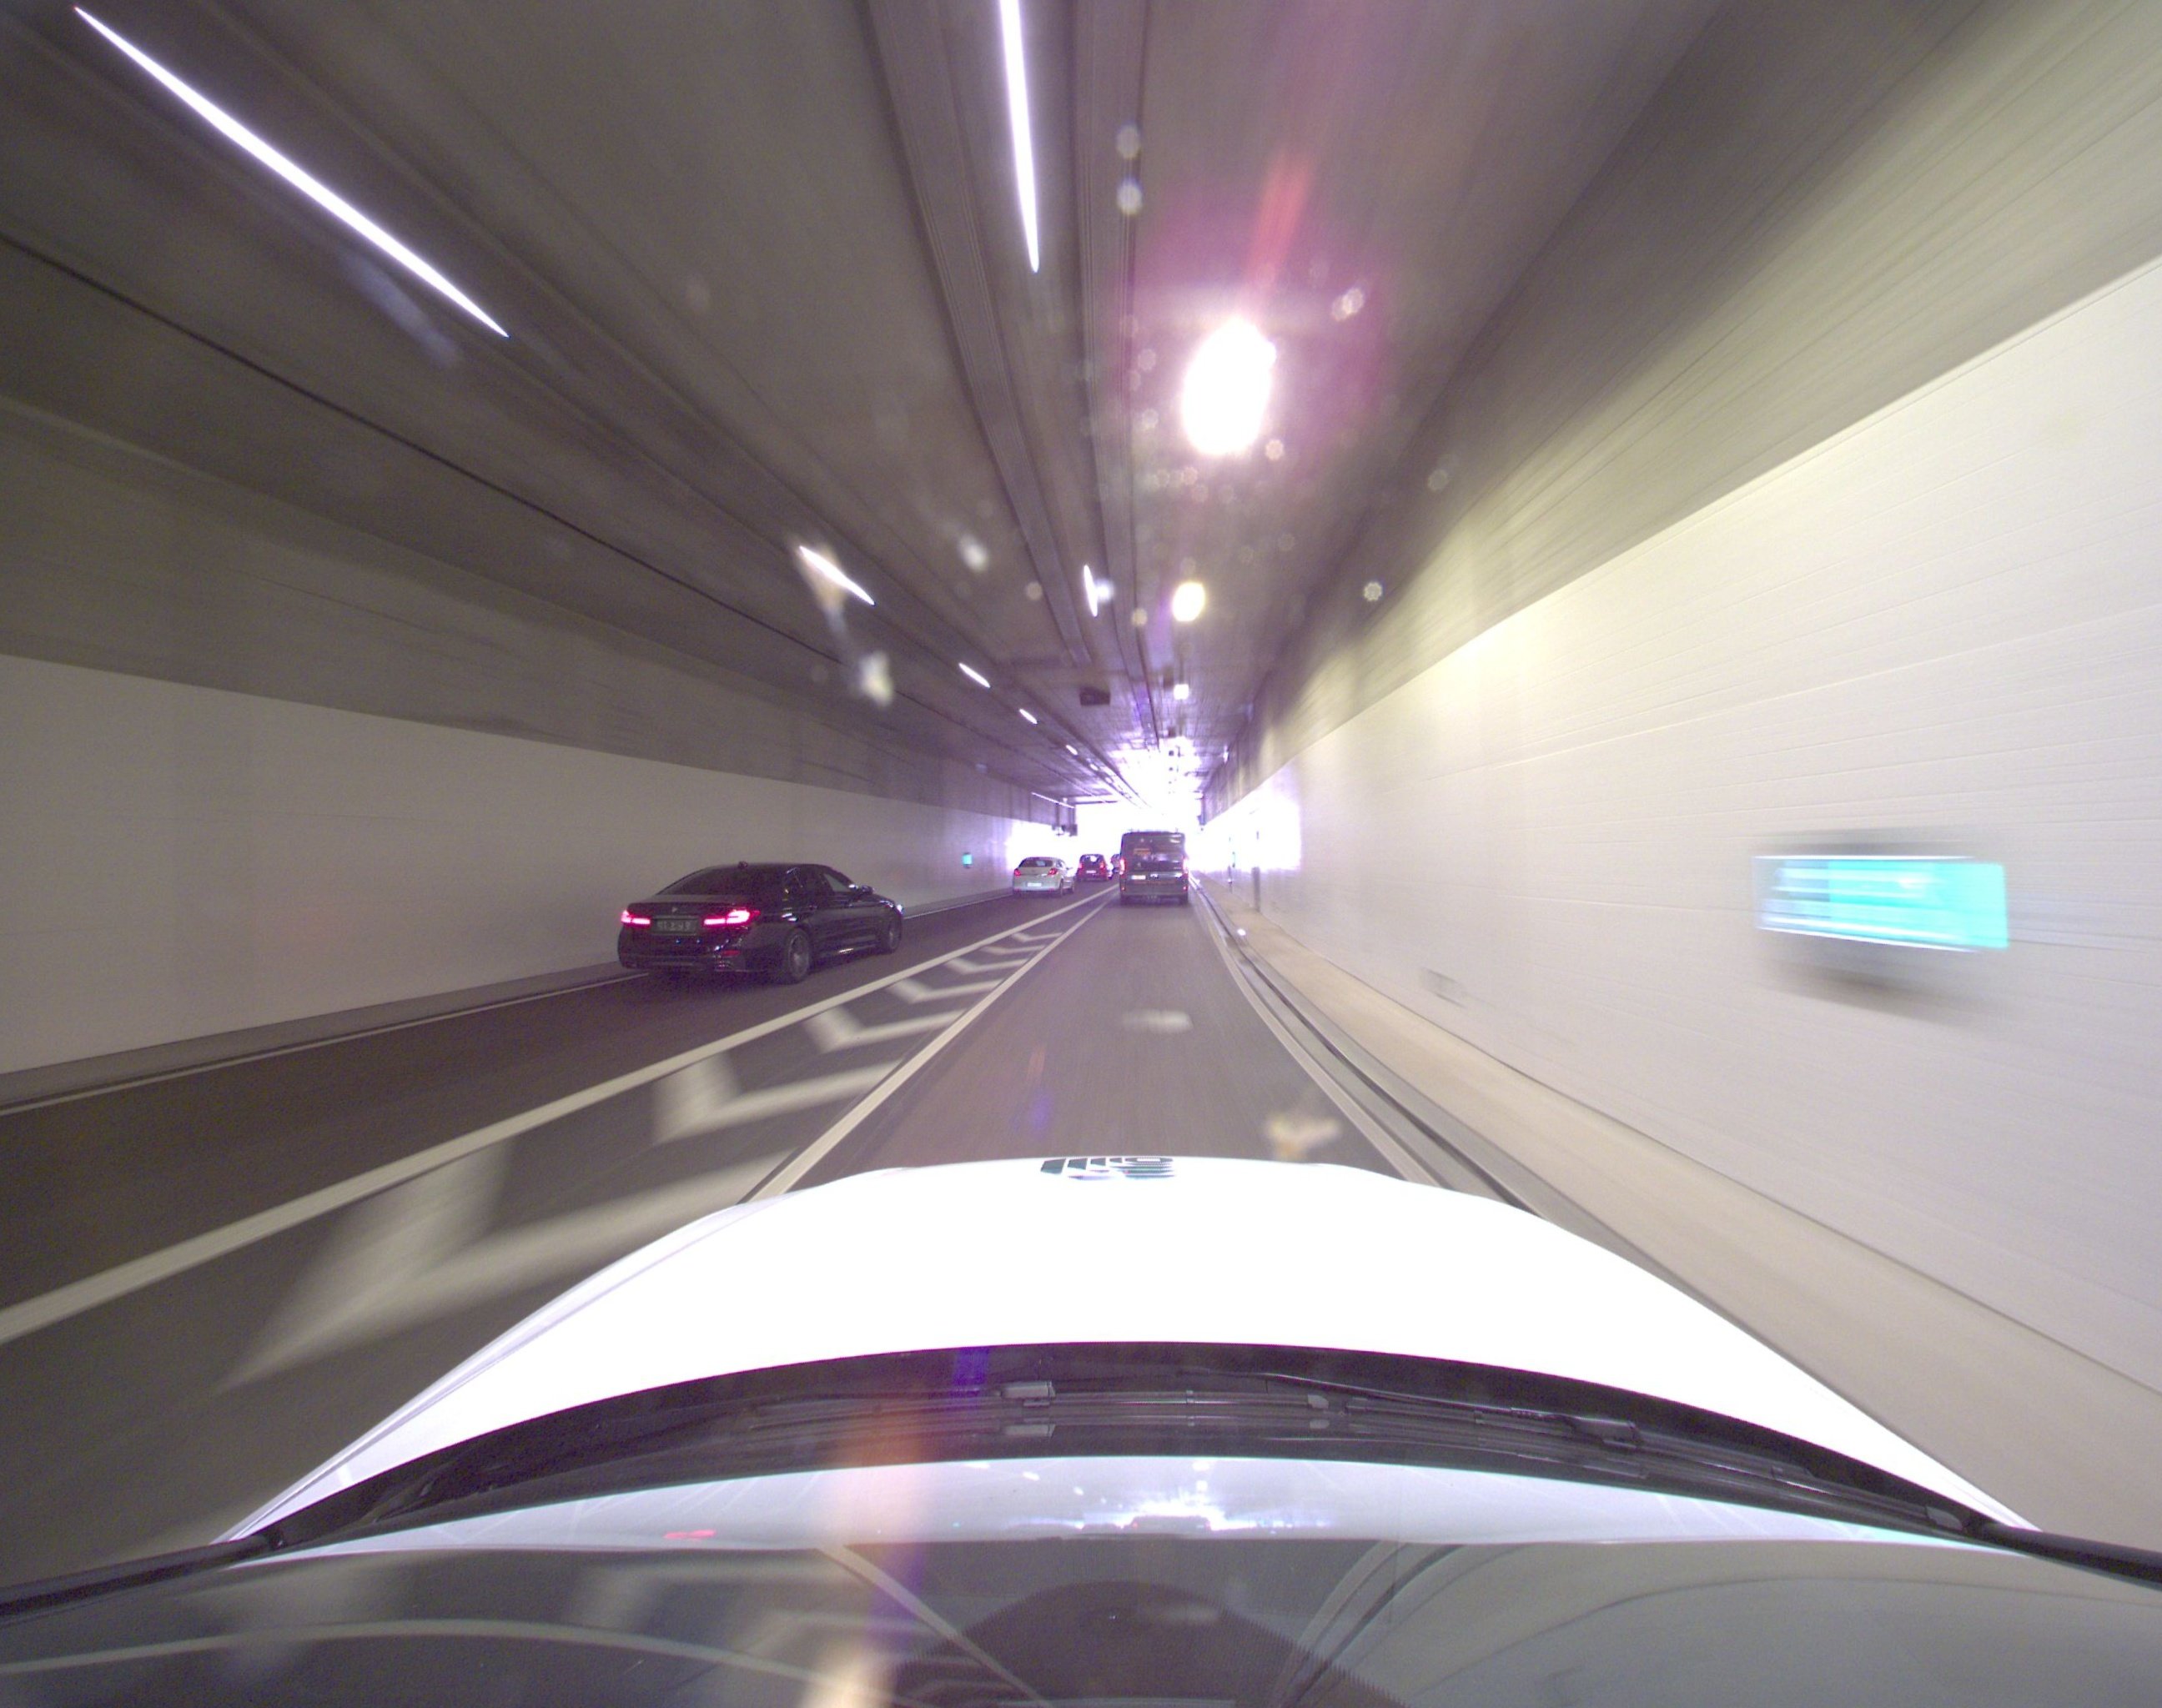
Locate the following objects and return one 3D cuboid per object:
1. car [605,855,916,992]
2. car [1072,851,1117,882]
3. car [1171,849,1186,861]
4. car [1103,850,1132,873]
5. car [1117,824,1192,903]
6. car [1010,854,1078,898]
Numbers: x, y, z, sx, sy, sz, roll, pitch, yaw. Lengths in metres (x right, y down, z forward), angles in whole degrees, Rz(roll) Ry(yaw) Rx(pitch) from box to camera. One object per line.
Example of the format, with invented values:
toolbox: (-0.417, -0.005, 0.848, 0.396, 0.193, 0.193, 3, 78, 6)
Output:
car: (-3.956, 0.735, 11.172, 1.686, 1.422, 4.864, 1, 0, 9)
car: (0.783, 0.624, 43.604, 1.804, 1.512, 4.231, 0, 0, 9)
car: (13.855, 0.188, 115.841, 1.867, 1.625, 4.226, 0, -1, 5)
car: (2.637, 0.586, 58.516, 1.867, 1.581, 4.226, 0, -1, 5)
car: (2.322, 0.286, 25.733, 2.148, 2.266, 4.643, 0, 0, 5)
car: (-1.263, 0.739, 29.336, 1.699, 1.413, 3.983, 0, 1, 8)
